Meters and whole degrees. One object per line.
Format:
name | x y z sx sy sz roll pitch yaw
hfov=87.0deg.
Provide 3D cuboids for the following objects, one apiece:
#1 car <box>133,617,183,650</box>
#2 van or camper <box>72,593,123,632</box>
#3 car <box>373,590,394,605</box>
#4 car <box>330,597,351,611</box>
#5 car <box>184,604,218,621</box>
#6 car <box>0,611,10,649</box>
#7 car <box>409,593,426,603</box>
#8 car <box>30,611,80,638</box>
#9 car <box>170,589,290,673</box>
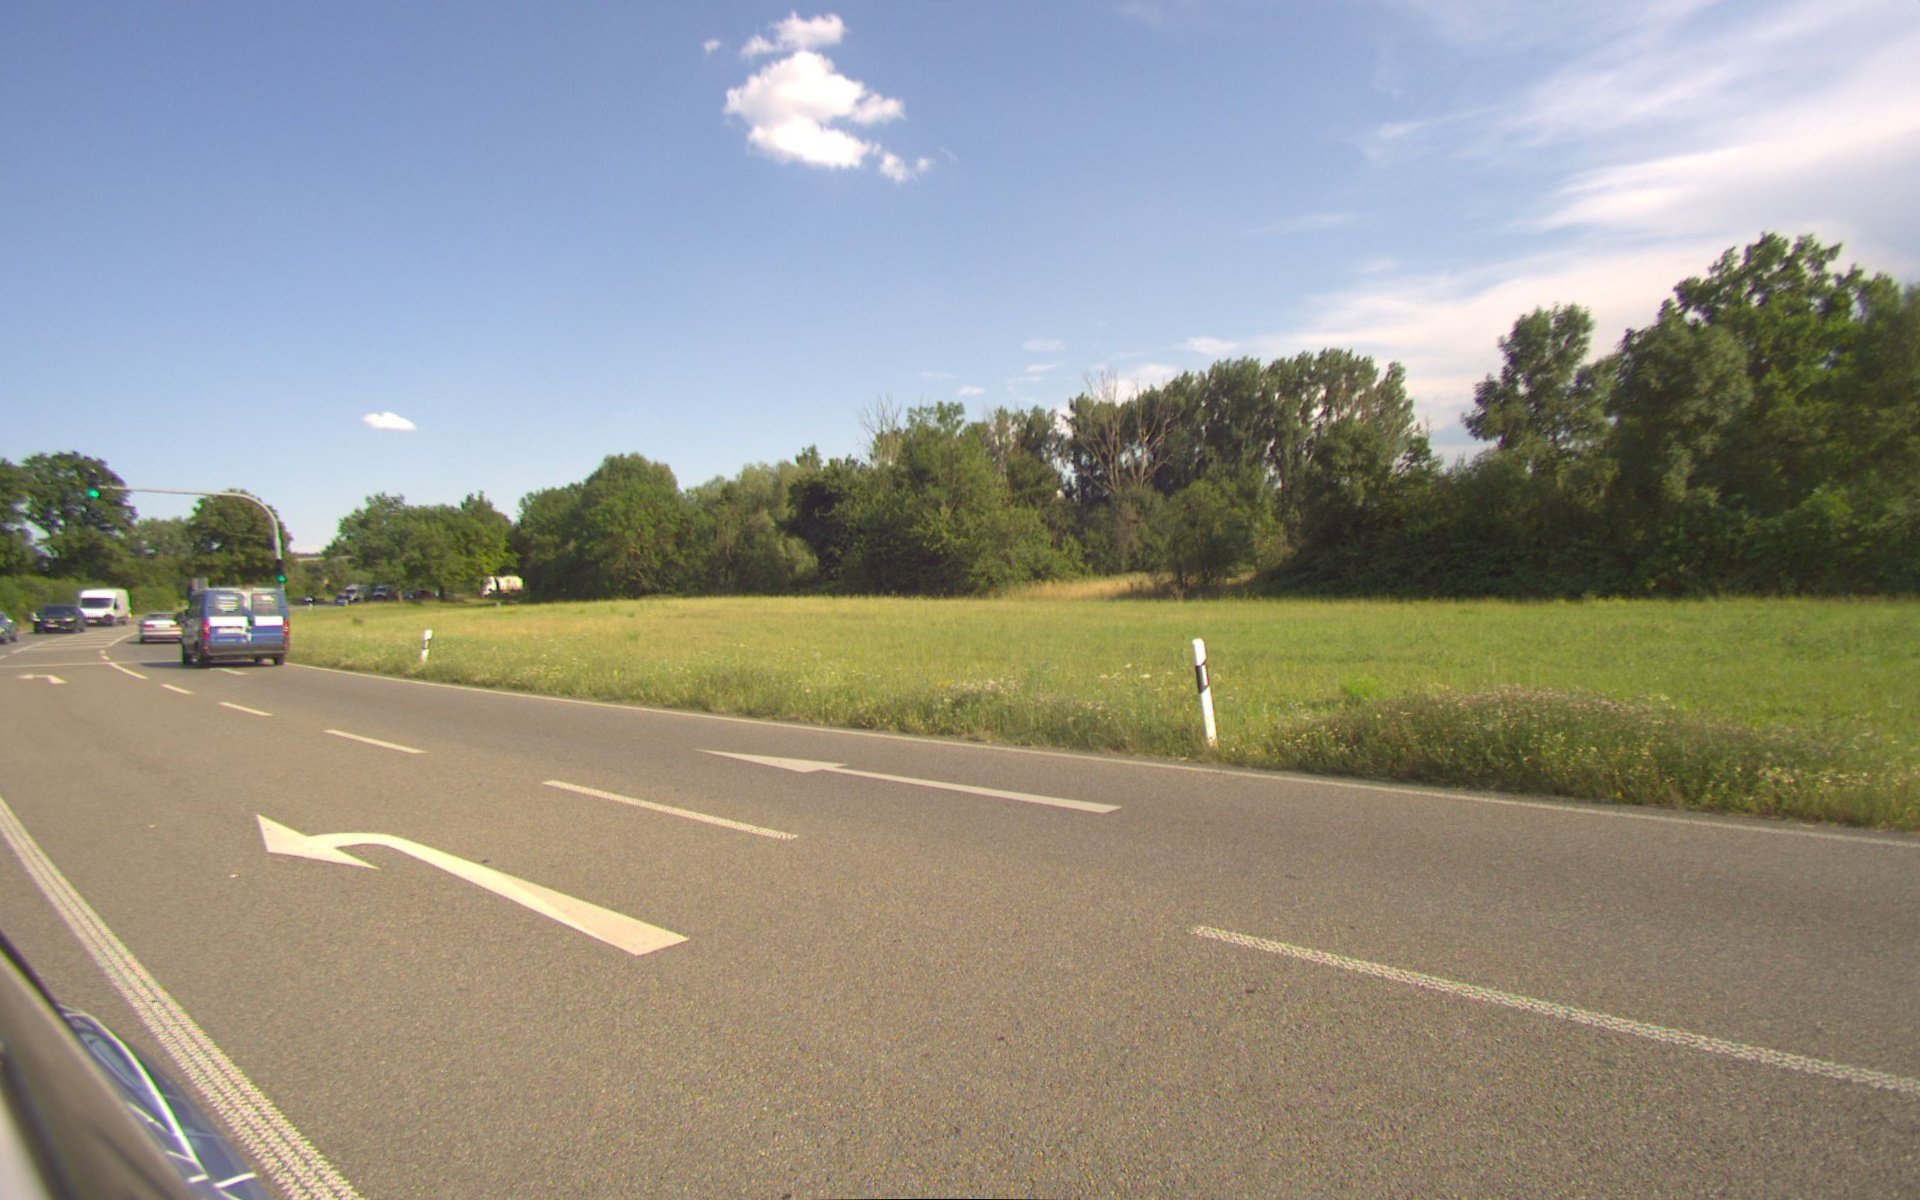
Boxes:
car | -37.278 1.527 47.023 1.685 1.439 4.185 -1 0 -40
van or camper | -59.843 0.841 70.292 2.001 2.494 5.091 -3 1 -34
car | -96.666 -0.501 169.745 1.966 2.405 4.951 -3 1 -16
car | -84.922 0.591 138.724 1.700 1.897 4.349 0 -1 -21
car | -73.732 1.204 98.365 1.646 1.490 3.506 -3 1 -21
car | -43.347 1.333 44.698 1.609 1.570 3.425 1 0 -37
car | -93.411 -0.331 174.289 1.613 1.707 3.627 0 0 -12
car | -51.882 1.415 58.078 1.581 1.490 3.626 1 -1 -33
car | -20.504 0.820 28.340 4.781 2.153 1.975 -1 0 45
